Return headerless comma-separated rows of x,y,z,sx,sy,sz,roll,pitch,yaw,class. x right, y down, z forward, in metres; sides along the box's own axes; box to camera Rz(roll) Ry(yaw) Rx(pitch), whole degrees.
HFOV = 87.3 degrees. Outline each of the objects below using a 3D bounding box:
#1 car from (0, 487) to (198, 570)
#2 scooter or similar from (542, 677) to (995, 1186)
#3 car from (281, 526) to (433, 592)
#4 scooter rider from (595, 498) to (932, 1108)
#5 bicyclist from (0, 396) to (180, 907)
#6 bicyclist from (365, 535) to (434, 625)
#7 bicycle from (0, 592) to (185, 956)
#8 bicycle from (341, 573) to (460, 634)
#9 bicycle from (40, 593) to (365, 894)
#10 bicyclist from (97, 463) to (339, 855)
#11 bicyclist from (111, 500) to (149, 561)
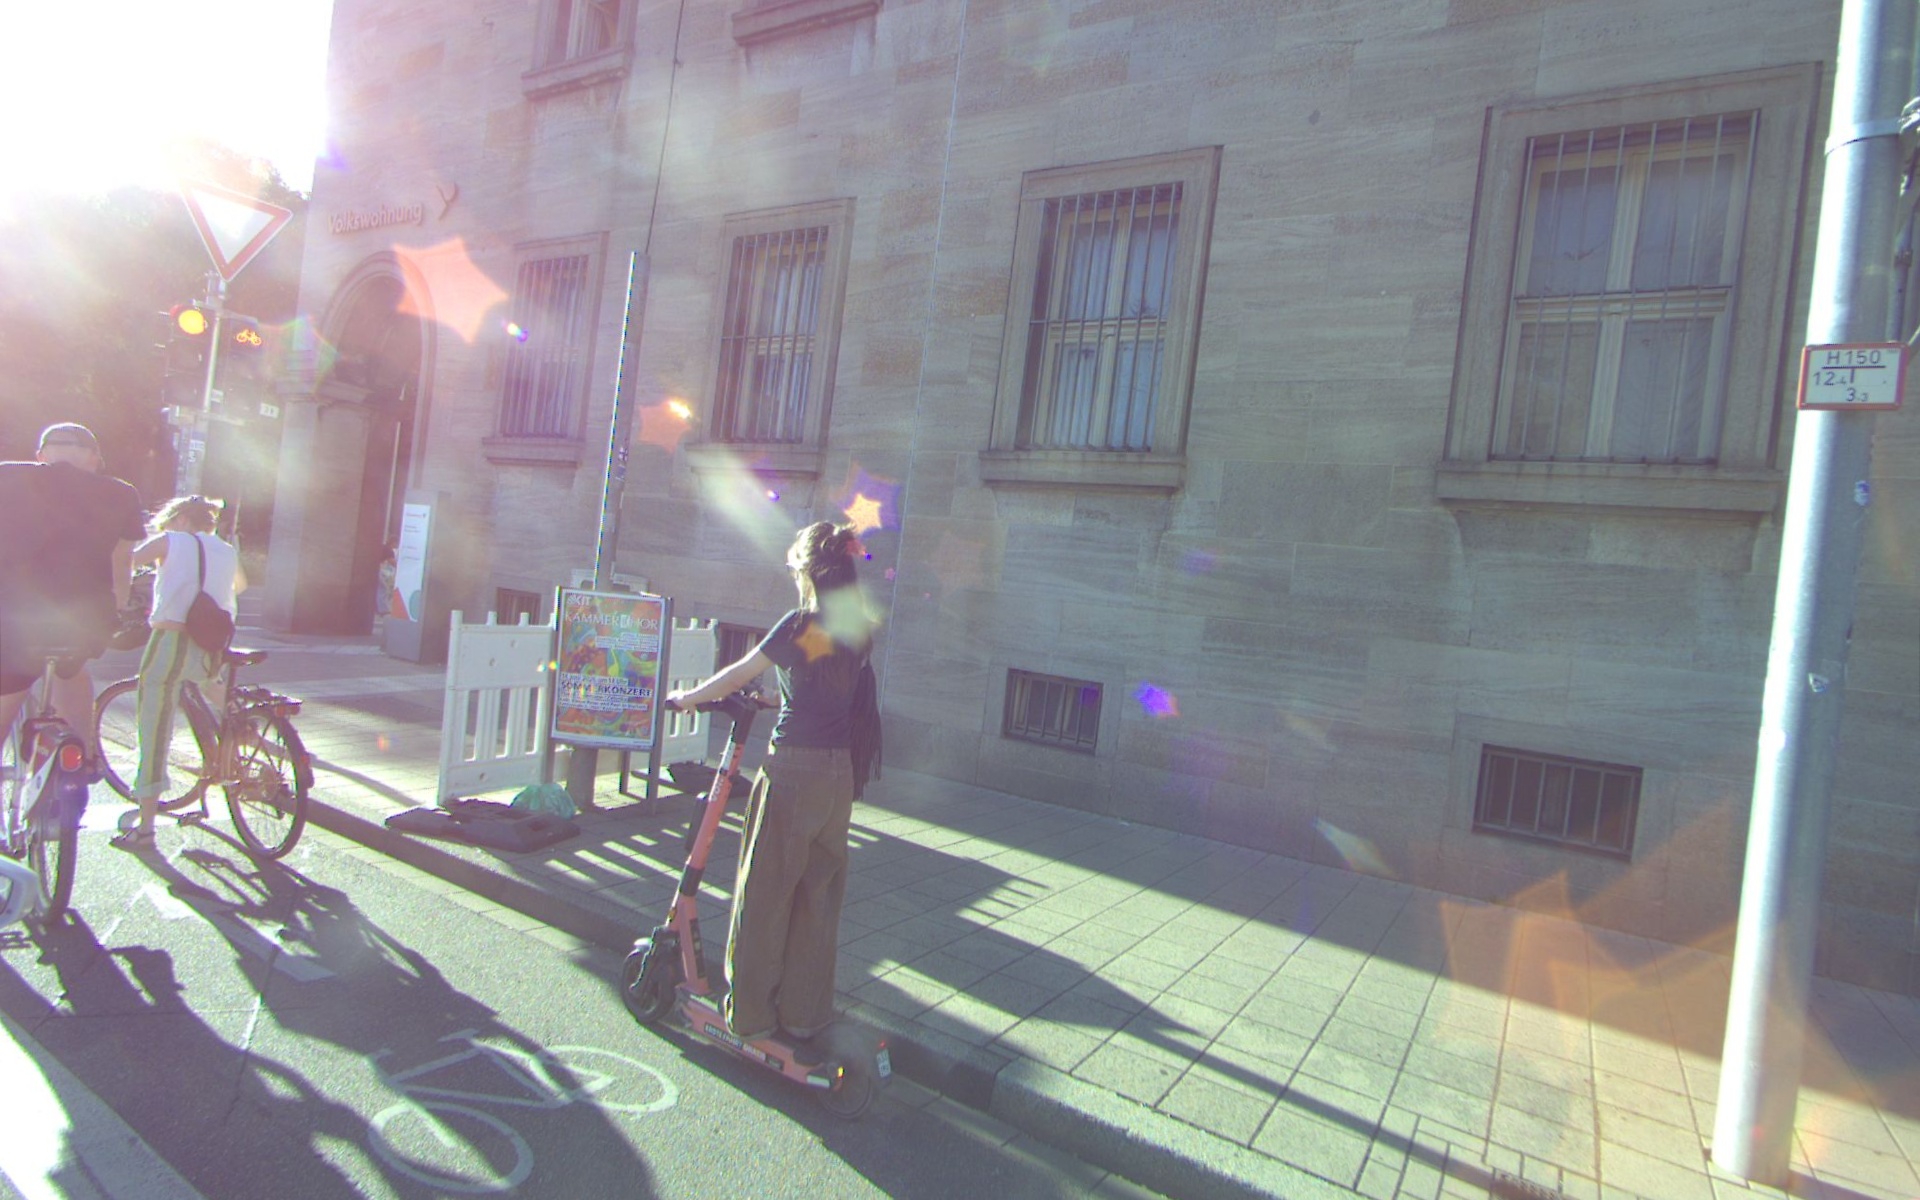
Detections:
-23.375,-1.895,27.201,1.622,1.630,3.999,7,-1,31,car
-0.649,0.940,3.276,1.305,1.199,0.535,7,0,31,scooter or similar
-19.701,-1.308,33.028,1.623,1.630,3.854,7,-1,31,car
-0.609,0.584,3.268,0.547,1.691,0.730,7,0,31,scooter rider
-3.551,0.191,3.860,0.541,1.820,0.559,7,-1,33,bicyclist
-10.327,-0.363,18.548,0.596,1.542,0.764,7,0,27,bicyclist
-3.740,0.573,3.931,1.700,1.090,0.516,7,-1,34,bicycle
-10.312,0.084,18.615,0.550,0.946,1.862,7,-1,27,bicycle
-3.684,0.620,4.848,1.721,1.090,0.535,7,-1,31,bicycle
-3.537,0.264,4.810,0.629,1.711,0.558,7,-1,30,bicyclist
-24.734,-2.073,29.984,0.499,1.704,0.643,7,0,37,bicyclist
